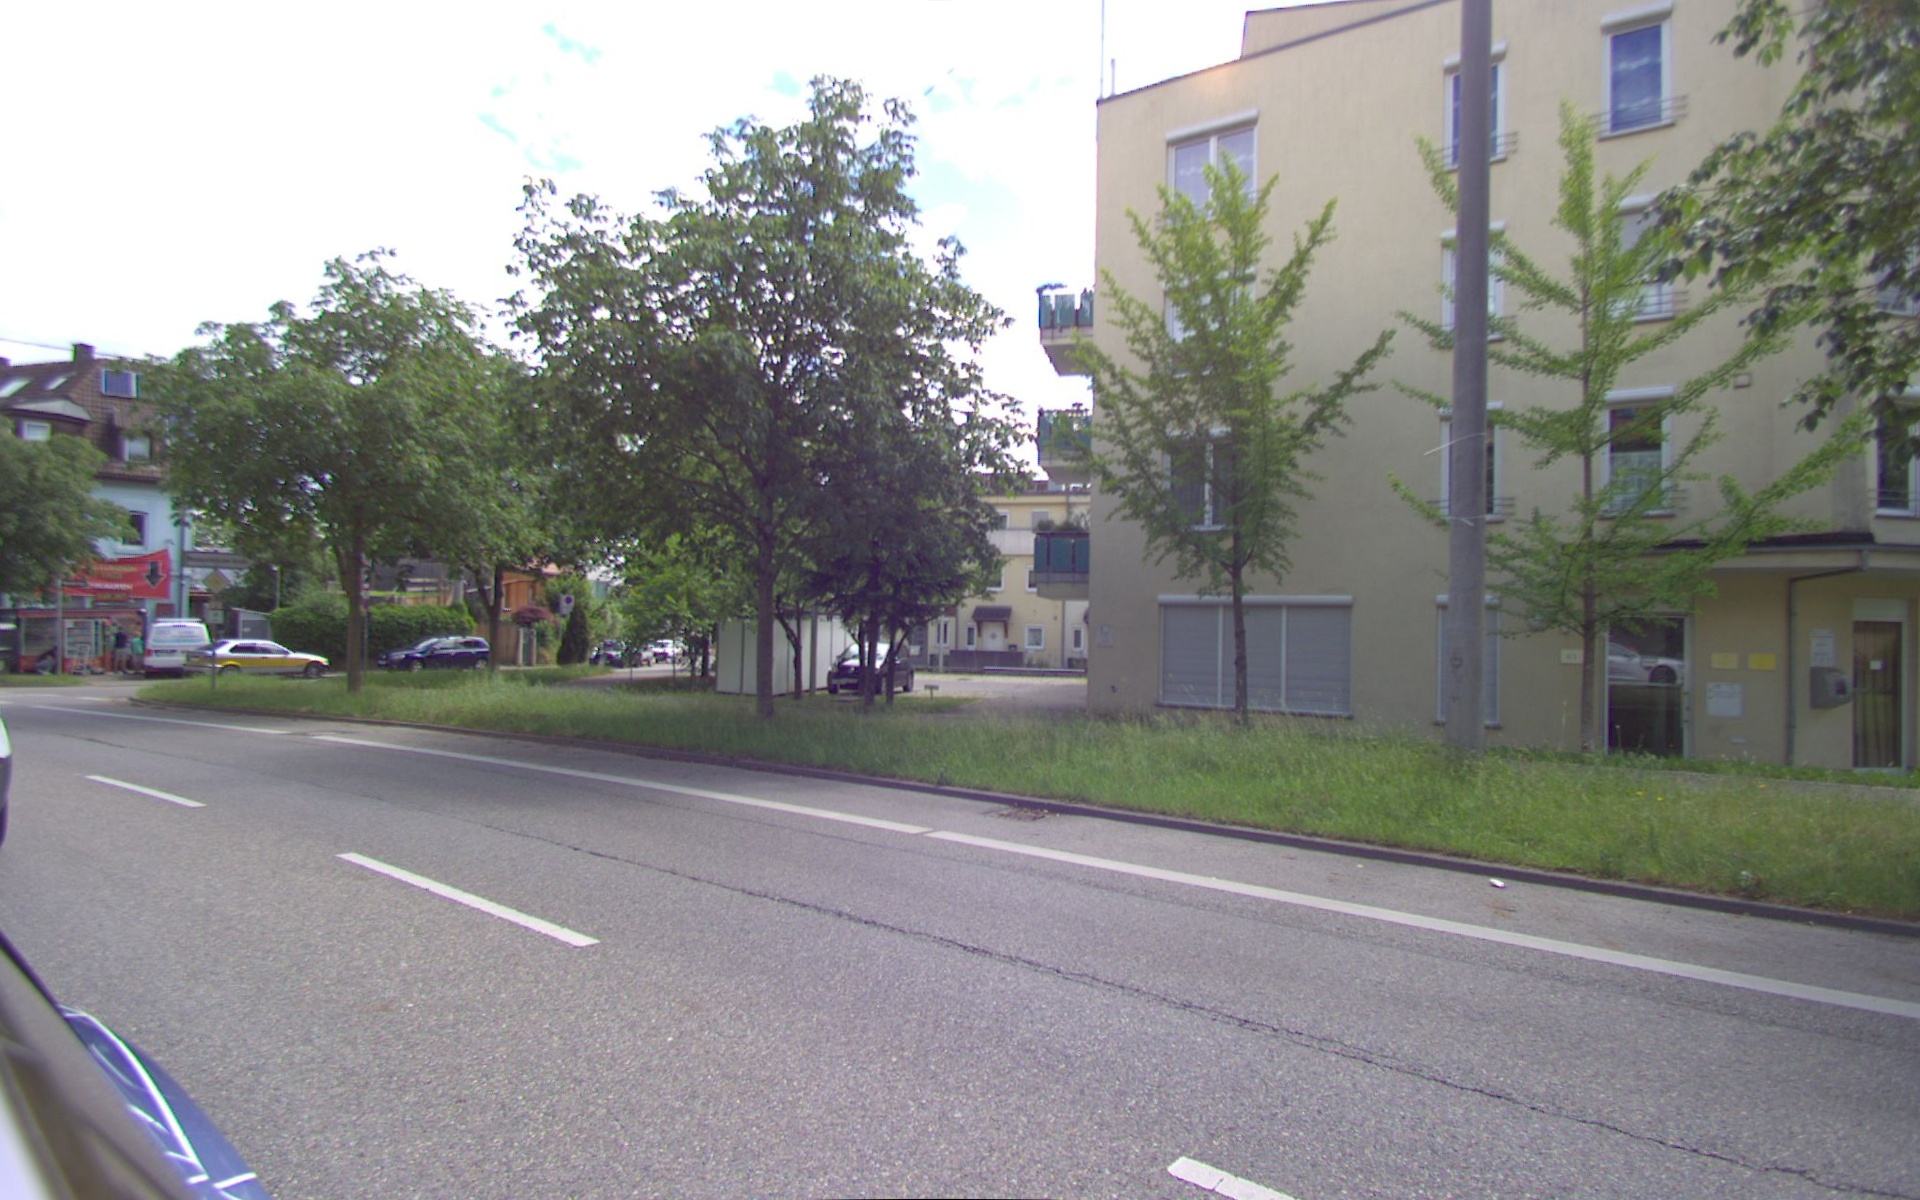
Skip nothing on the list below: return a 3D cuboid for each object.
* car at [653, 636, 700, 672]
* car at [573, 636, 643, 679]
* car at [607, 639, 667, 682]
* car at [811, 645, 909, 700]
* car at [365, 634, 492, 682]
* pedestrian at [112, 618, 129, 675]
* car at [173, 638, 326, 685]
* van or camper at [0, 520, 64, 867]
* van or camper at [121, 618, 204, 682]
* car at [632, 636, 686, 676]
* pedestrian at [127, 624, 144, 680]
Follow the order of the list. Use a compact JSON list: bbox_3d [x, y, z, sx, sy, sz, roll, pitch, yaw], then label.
[{"bbox_3d":[-17.630,3.329,63.003,1.871,2.029,4.001,-1,0,-1],"label":"car"},{"bbox_3d":[-17.241,2.800,49.763,1.954,2.029,3.998,0,-2,1],"label":"car"},{"bbox_3d":[-17.212,3.188,54.109,1.972,2.029,4.000,-1,0,0],"label":"car"},{"bbox_3d":[-2.756,1.990,28.727,1.774,1.431,3.987,-1,-2,10],"label":"car"},{"bbox_3d":[-20.281,2.184,38.753,1.715,1.695,3.928,-1,-2,37],"label":"car"},{"bbox_3d":[-30.304,1.687,36.534,0.363,2.029,0.419,-1,0,43],"label":"pedestrian"},{"bbox_3d":[-24.057,2.043,34.418,1.529,1.332,4.007,-1,0,28],"label":"car"},{"bbox_3d":[-8.121,0.566,6.752,5.090,2.029,2.005,-1,-3,35],"label":"van or camper"},{"bbox_3d":[-28.166,1.704,35.702,3.812,2.105,1.770,-1,0,43],"label":"van or camper"},{"bbox_3d":[-17.331,3.207,58.423,1.972,2.029,4.000,-1,0,-1],"label":"car"},{"bbox_3d":[-30.024,1.890,36.850,0.443,2.005,0.378,-1,0,41],"label":"pedestrian"}]
